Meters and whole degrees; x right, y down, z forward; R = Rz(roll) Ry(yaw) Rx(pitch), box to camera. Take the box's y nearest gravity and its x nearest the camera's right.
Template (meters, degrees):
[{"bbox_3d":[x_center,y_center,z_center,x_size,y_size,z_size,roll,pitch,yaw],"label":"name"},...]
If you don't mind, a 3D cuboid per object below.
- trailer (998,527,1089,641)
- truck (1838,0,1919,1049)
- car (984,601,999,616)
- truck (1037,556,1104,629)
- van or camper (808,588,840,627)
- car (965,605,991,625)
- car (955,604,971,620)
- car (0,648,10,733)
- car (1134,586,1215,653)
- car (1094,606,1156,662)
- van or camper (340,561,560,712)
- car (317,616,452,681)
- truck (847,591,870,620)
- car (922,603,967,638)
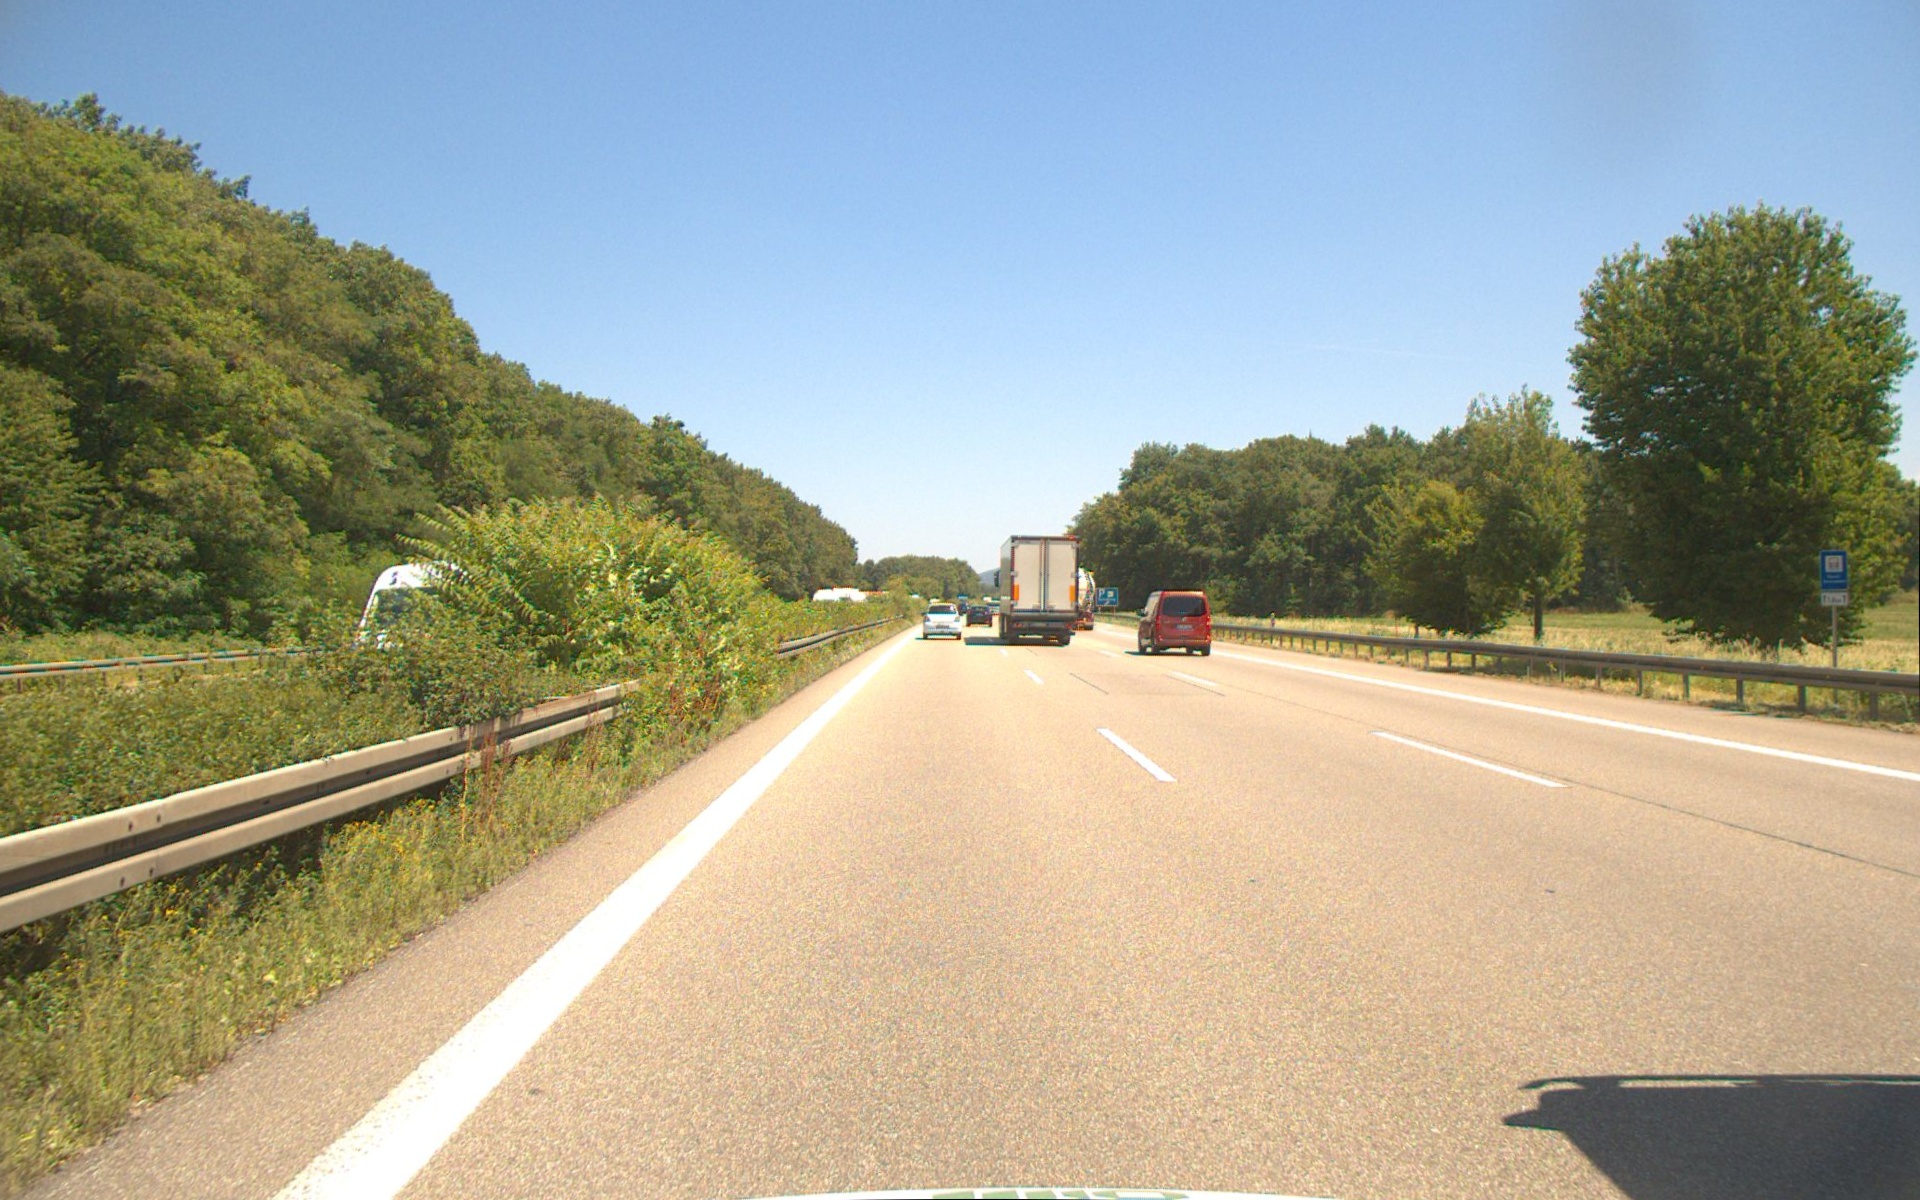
[{"bbox_3d":[3.231,-0.599,67.238,3.157,4.216,12.351,0,0,0],"label":"trailer"},{"bbox_3d":[4.357,-0.737,3.132,2.733,4.278,5.000,0,0,0],"label":"truck"},{"bbox_3d":[3.818,1.061,202.370,1.634,1.796,3.999,0,0,-1],"label":"car"},{"bbox_3d":[6.960,-0.446,105.416,3.159,4.421,10.802,0,0,-2],"label":"truck"},{"bbox_3d":[-10.447,0.563,127.564,1.953,2.896,6.998,0,0,-1],"label":"van or camper"},{"bbox_3d":[1.201,1.038,112.714,1.634,1.312,3.999,0,0,-1],"label":"car"},{"bbox_3d":[0.360,1.634,225.243,2.064,2.049,3.999,1,0,-1],"label":"car"},{"bbox_3d":[-16.355,1.469,24.987,1.758,1.362,3.999,0,0,-1],"label":"car"},{"bbox_3d":[6.933,0.603,54.020,1.818,2.038,5.520,1,0,-1],"label":"car"},{"bbox_3d":[6.269,1.273,63.231,1.953,2.049,4.000,0,0,0],"label":"car"},{"bbox_3d":[-9.035,0.580,30.053,1.953,2.412,6.998,0,0,-1],"label":"van or camper"},{"bbox_3d":[-13.096,1.070,37.885,1.758,1.362,3.999,0,0,-1],"label":"car"},{"bbox_3d":[-12.532,0.708,204.633,2.361,3.412,6.998,-2,0,-1],"label":"truck"},{"bbox_3d":[-0.683,0.857,70.971,1.775,1.429,3.315,0,0,-3],"label":"car"}]
